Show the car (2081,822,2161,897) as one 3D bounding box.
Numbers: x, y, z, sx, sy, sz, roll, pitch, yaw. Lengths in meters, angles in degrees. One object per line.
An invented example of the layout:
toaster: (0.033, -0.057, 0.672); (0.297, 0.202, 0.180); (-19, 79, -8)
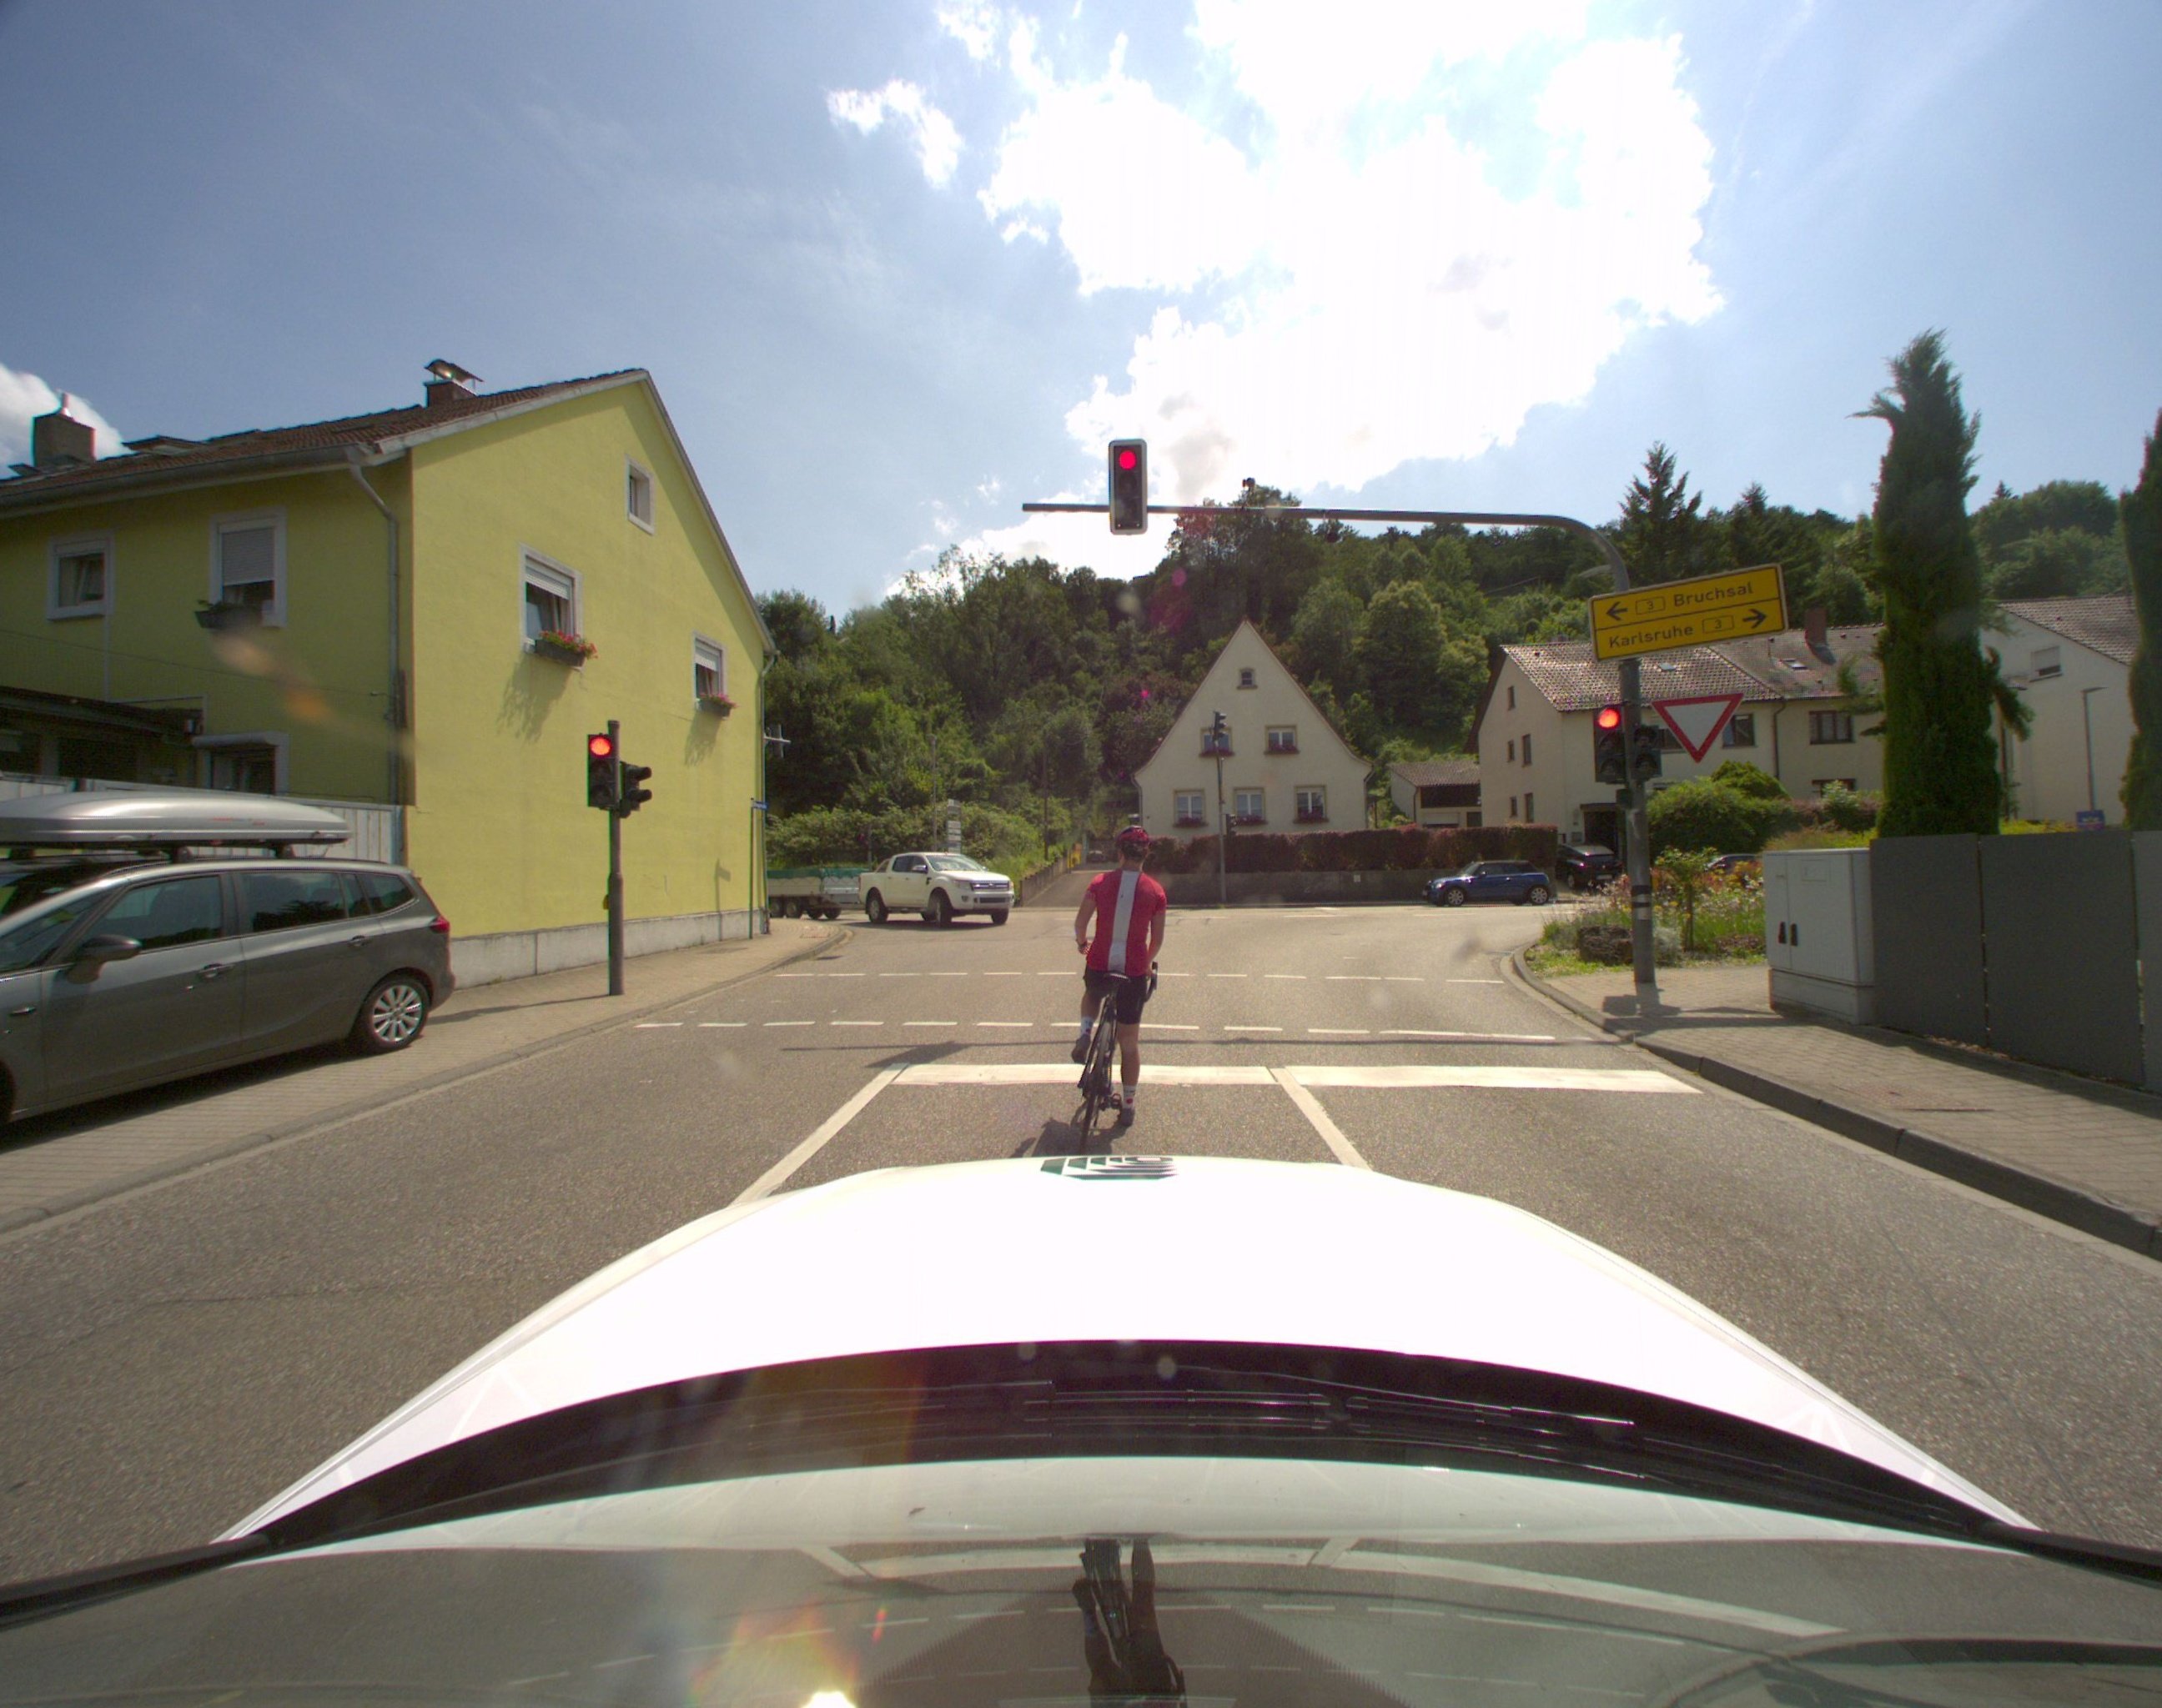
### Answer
car: (28.972, 0.116, 20.420); (4.848, 1.822, 2.003); (-1, -3, 6)

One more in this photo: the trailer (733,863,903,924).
trailer: (-7.666, 1.147, 23.760); (4.391, 1.539, 1.990); (-3, 0, 22)

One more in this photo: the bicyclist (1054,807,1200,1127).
bicyclist: (0.225, 0.588, 4.697); (0.759, 1.664, 0.868); (0, -1, -3)

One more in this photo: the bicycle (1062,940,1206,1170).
bicycle: (0.235, 1.031, 4.667); (0.628, 0.905, 1.655); (0, 0, -3)

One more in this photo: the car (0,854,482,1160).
car: (-6.730, 0.822, 5.376); (1.986, 1.635, 4.632); (0, 0, 2)

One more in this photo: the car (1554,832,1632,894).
car: (18.876, 0.284, 30.199); (1.780, 1.388, 3.709); (-1, 13, 21)

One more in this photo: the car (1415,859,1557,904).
car: (12.548, 0.880, 25.407); (3.590, 1.363, 1.647); (-1, -3, 6)

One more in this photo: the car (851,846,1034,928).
car: (-3.652, 0.817, 20.672); (1.990, 1.775, 5.249); (-2, -1, -43)
